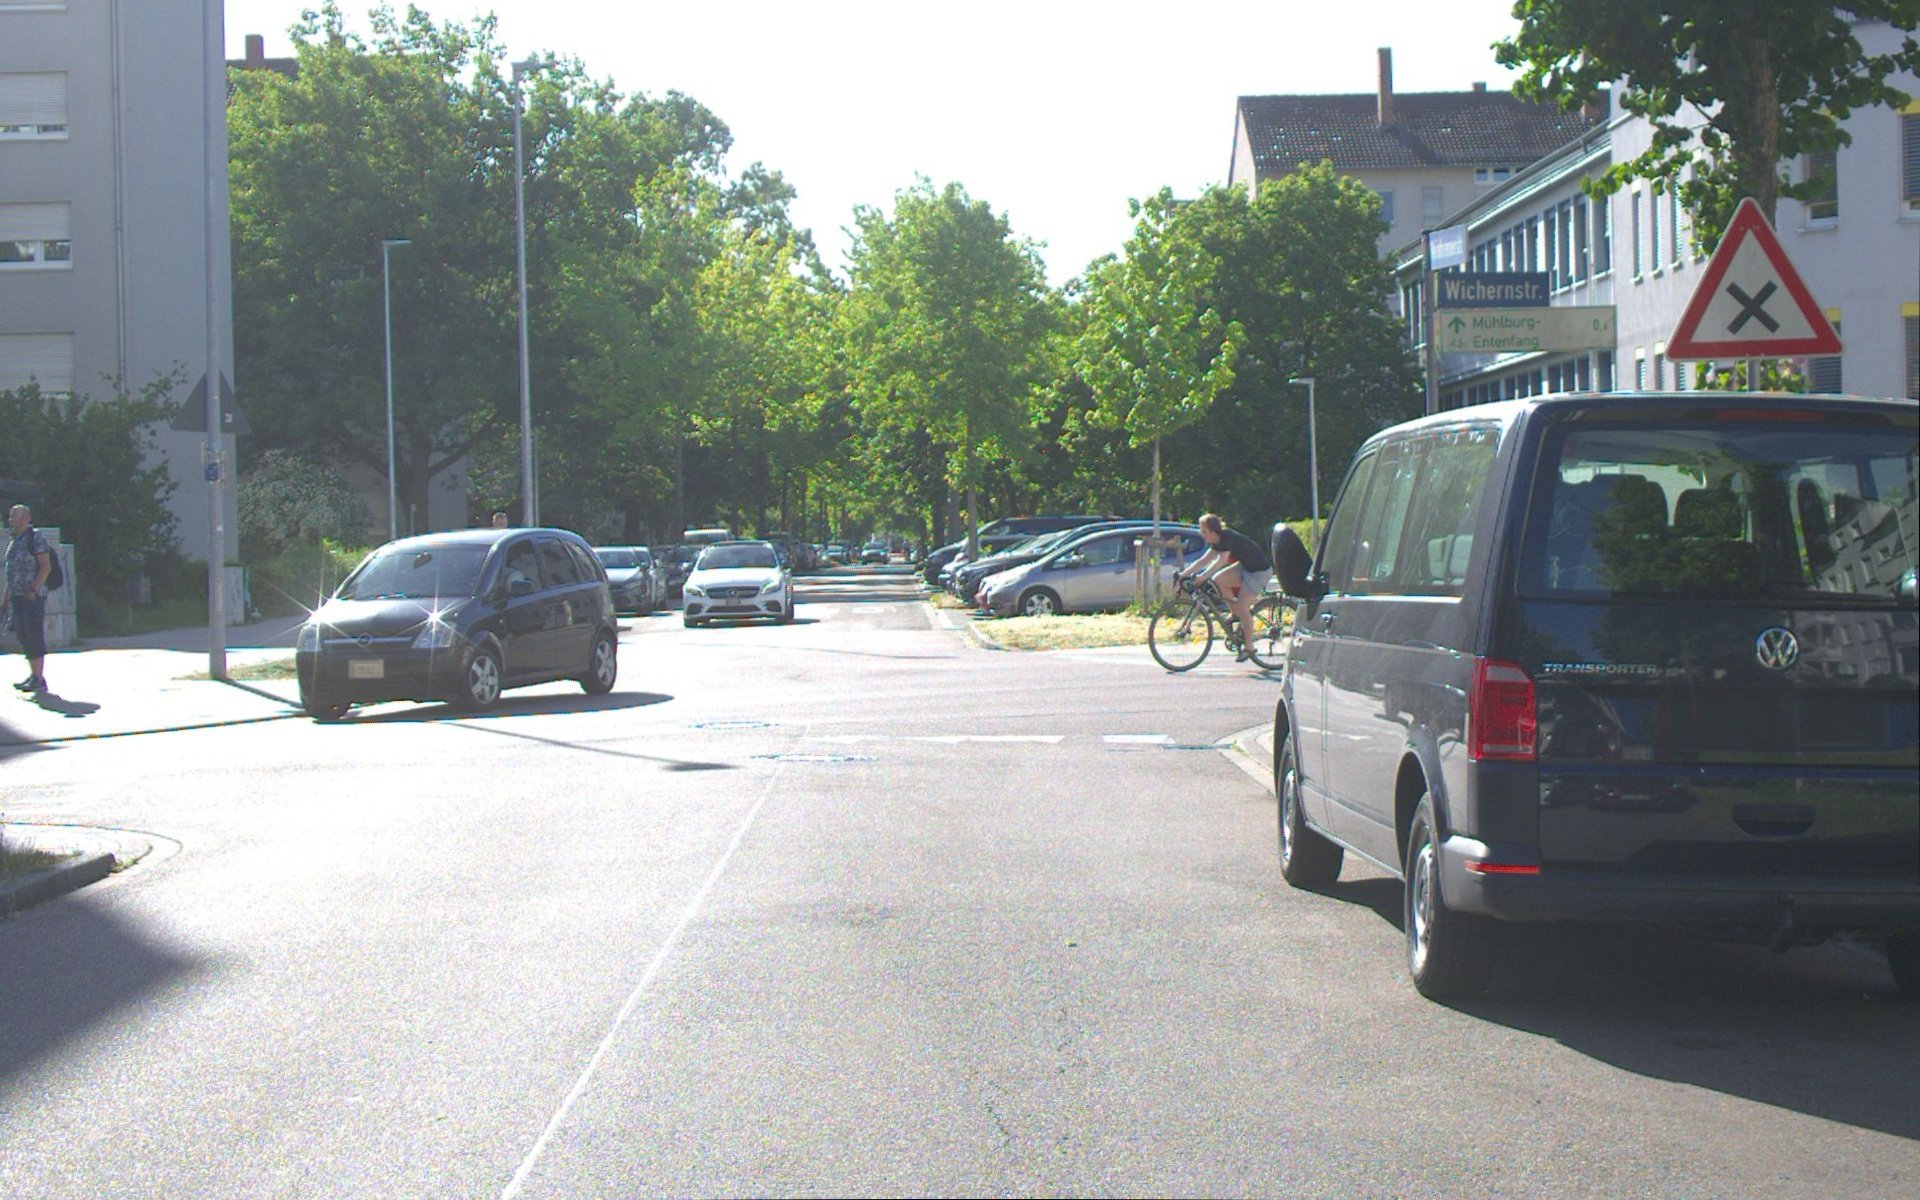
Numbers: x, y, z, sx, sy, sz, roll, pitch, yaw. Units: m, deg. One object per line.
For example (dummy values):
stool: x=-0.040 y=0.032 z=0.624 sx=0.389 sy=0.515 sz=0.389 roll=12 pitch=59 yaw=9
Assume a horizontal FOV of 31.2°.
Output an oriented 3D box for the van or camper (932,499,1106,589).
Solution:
van or camper: x=1.367 y=-1.310 z=80.674 sx=3.987 sy=2.007 sz=2.000 roll=-1 pitch=0 yaw=-1

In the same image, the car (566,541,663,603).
car: x=-7.173 y=-0.578 z=71.679 sx=1.629 sy=1.230 sz=4.193 roll=1 pitch=0 yaw=-1

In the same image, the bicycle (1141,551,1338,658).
bicycle: x=2.717 y=0.035 z=33.354 sx=1.913 sy=1.008 sz=0.550 roll=0 pitch=0 yaw=-29

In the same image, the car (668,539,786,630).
car: x=-4.118 y=-0.285 z=61.457 sx=1.885 sy=1.499 sz=4.638 roll=2 pitch=0 yaw=-2

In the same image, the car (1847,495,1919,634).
car: x=12.099 y=-0.394 z=38.195 sx=4.123 sy=1.499 sz=1.843 roll=0 pitch=1 yaw=-26

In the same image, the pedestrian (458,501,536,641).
pedestrian: x=-5.783 y=-0.371 z=43.011 sx=0.870 sy=1.708 sz=0.979 roll=-1 pitch=1 yaw=-4

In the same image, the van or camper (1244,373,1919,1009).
van or camper: x=2.320 y=0.251 z=12.878 sx=1.989 sy=1.856 sz=5.387 roll=1 pitch=0 yaw=-1

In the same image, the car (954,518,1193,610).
car: x=2.046 y=-0.659 z=62.925 sx=4.203 sy=1.590 sz=2.000 roll=1 pitch=0 yaw=-2

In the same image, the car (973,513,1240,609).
car: x=2.315 y=-0.623 z=54.871 sx=4.088 sy=1.487 sz=1.729 roll=0 pitch=0 yaw=-4

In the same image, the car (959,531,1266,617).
car: x=2.499 y=-0.433 z=56.913 sx=4.869 sy=1.270 sz=1.729 roll=-2 pitch=1 yaw=-5

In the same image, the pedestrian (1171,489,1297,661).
pedestrian: x=2.652 y=-0.242 z=33.287 sx=0.692 sy=1.634 sz=1.044 roll=1 pitch=0 yaw=43

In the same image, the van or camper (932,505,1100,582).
van or camper: x=1.342 y=-1.366 z=83.539 sx=3.987 sy=1.766 sz=2.000 roll=-1 pitch=0 yaw=-1

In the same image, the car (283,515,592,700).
car: x=-4.629 y=0.046 z=31.041 sx=1.737 sy=1.525 sz=4.113 roll=1 pitch=0 yaw=6

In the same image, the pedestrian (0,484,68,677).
pedestrian: x=-9.329 y=-0.196 z=34.119 sx=0.843 sy=1.878 sz=0.791 roll=1 pitch=0 yaw=-11

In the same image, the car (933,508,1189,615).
car: x=1.733 y=-0.671 z=60.101 sx=4.278 sy=1.758 sz=2.000 roll=1 pitch=0 yaw=-3
